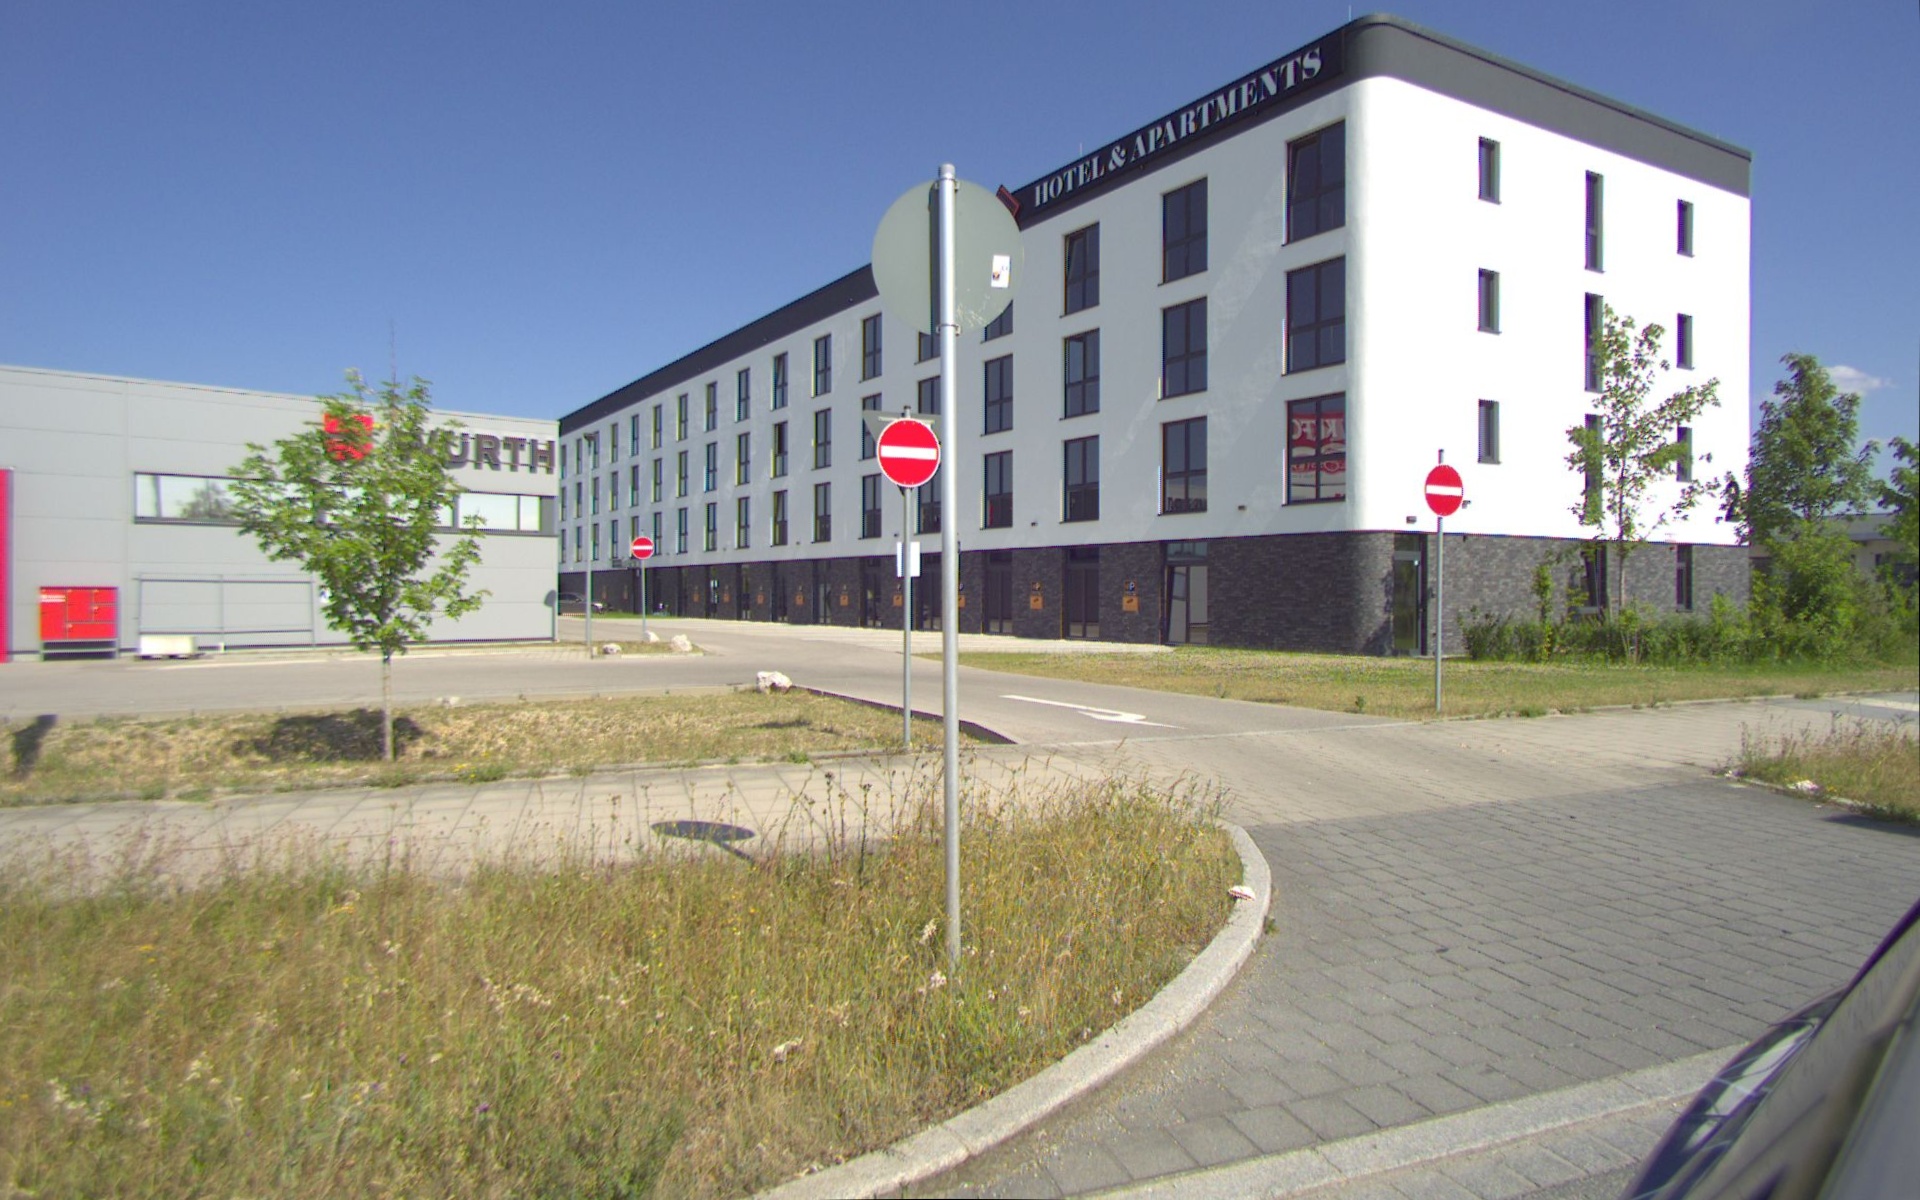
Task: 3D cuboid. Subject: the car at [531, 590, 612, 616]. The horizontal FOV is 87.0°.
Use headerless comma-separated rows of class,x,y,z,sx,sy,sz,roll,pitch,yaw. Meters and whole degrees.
car,-24.545,0.193,64.014,4.438,1.527,1.880,-1,0,-1
